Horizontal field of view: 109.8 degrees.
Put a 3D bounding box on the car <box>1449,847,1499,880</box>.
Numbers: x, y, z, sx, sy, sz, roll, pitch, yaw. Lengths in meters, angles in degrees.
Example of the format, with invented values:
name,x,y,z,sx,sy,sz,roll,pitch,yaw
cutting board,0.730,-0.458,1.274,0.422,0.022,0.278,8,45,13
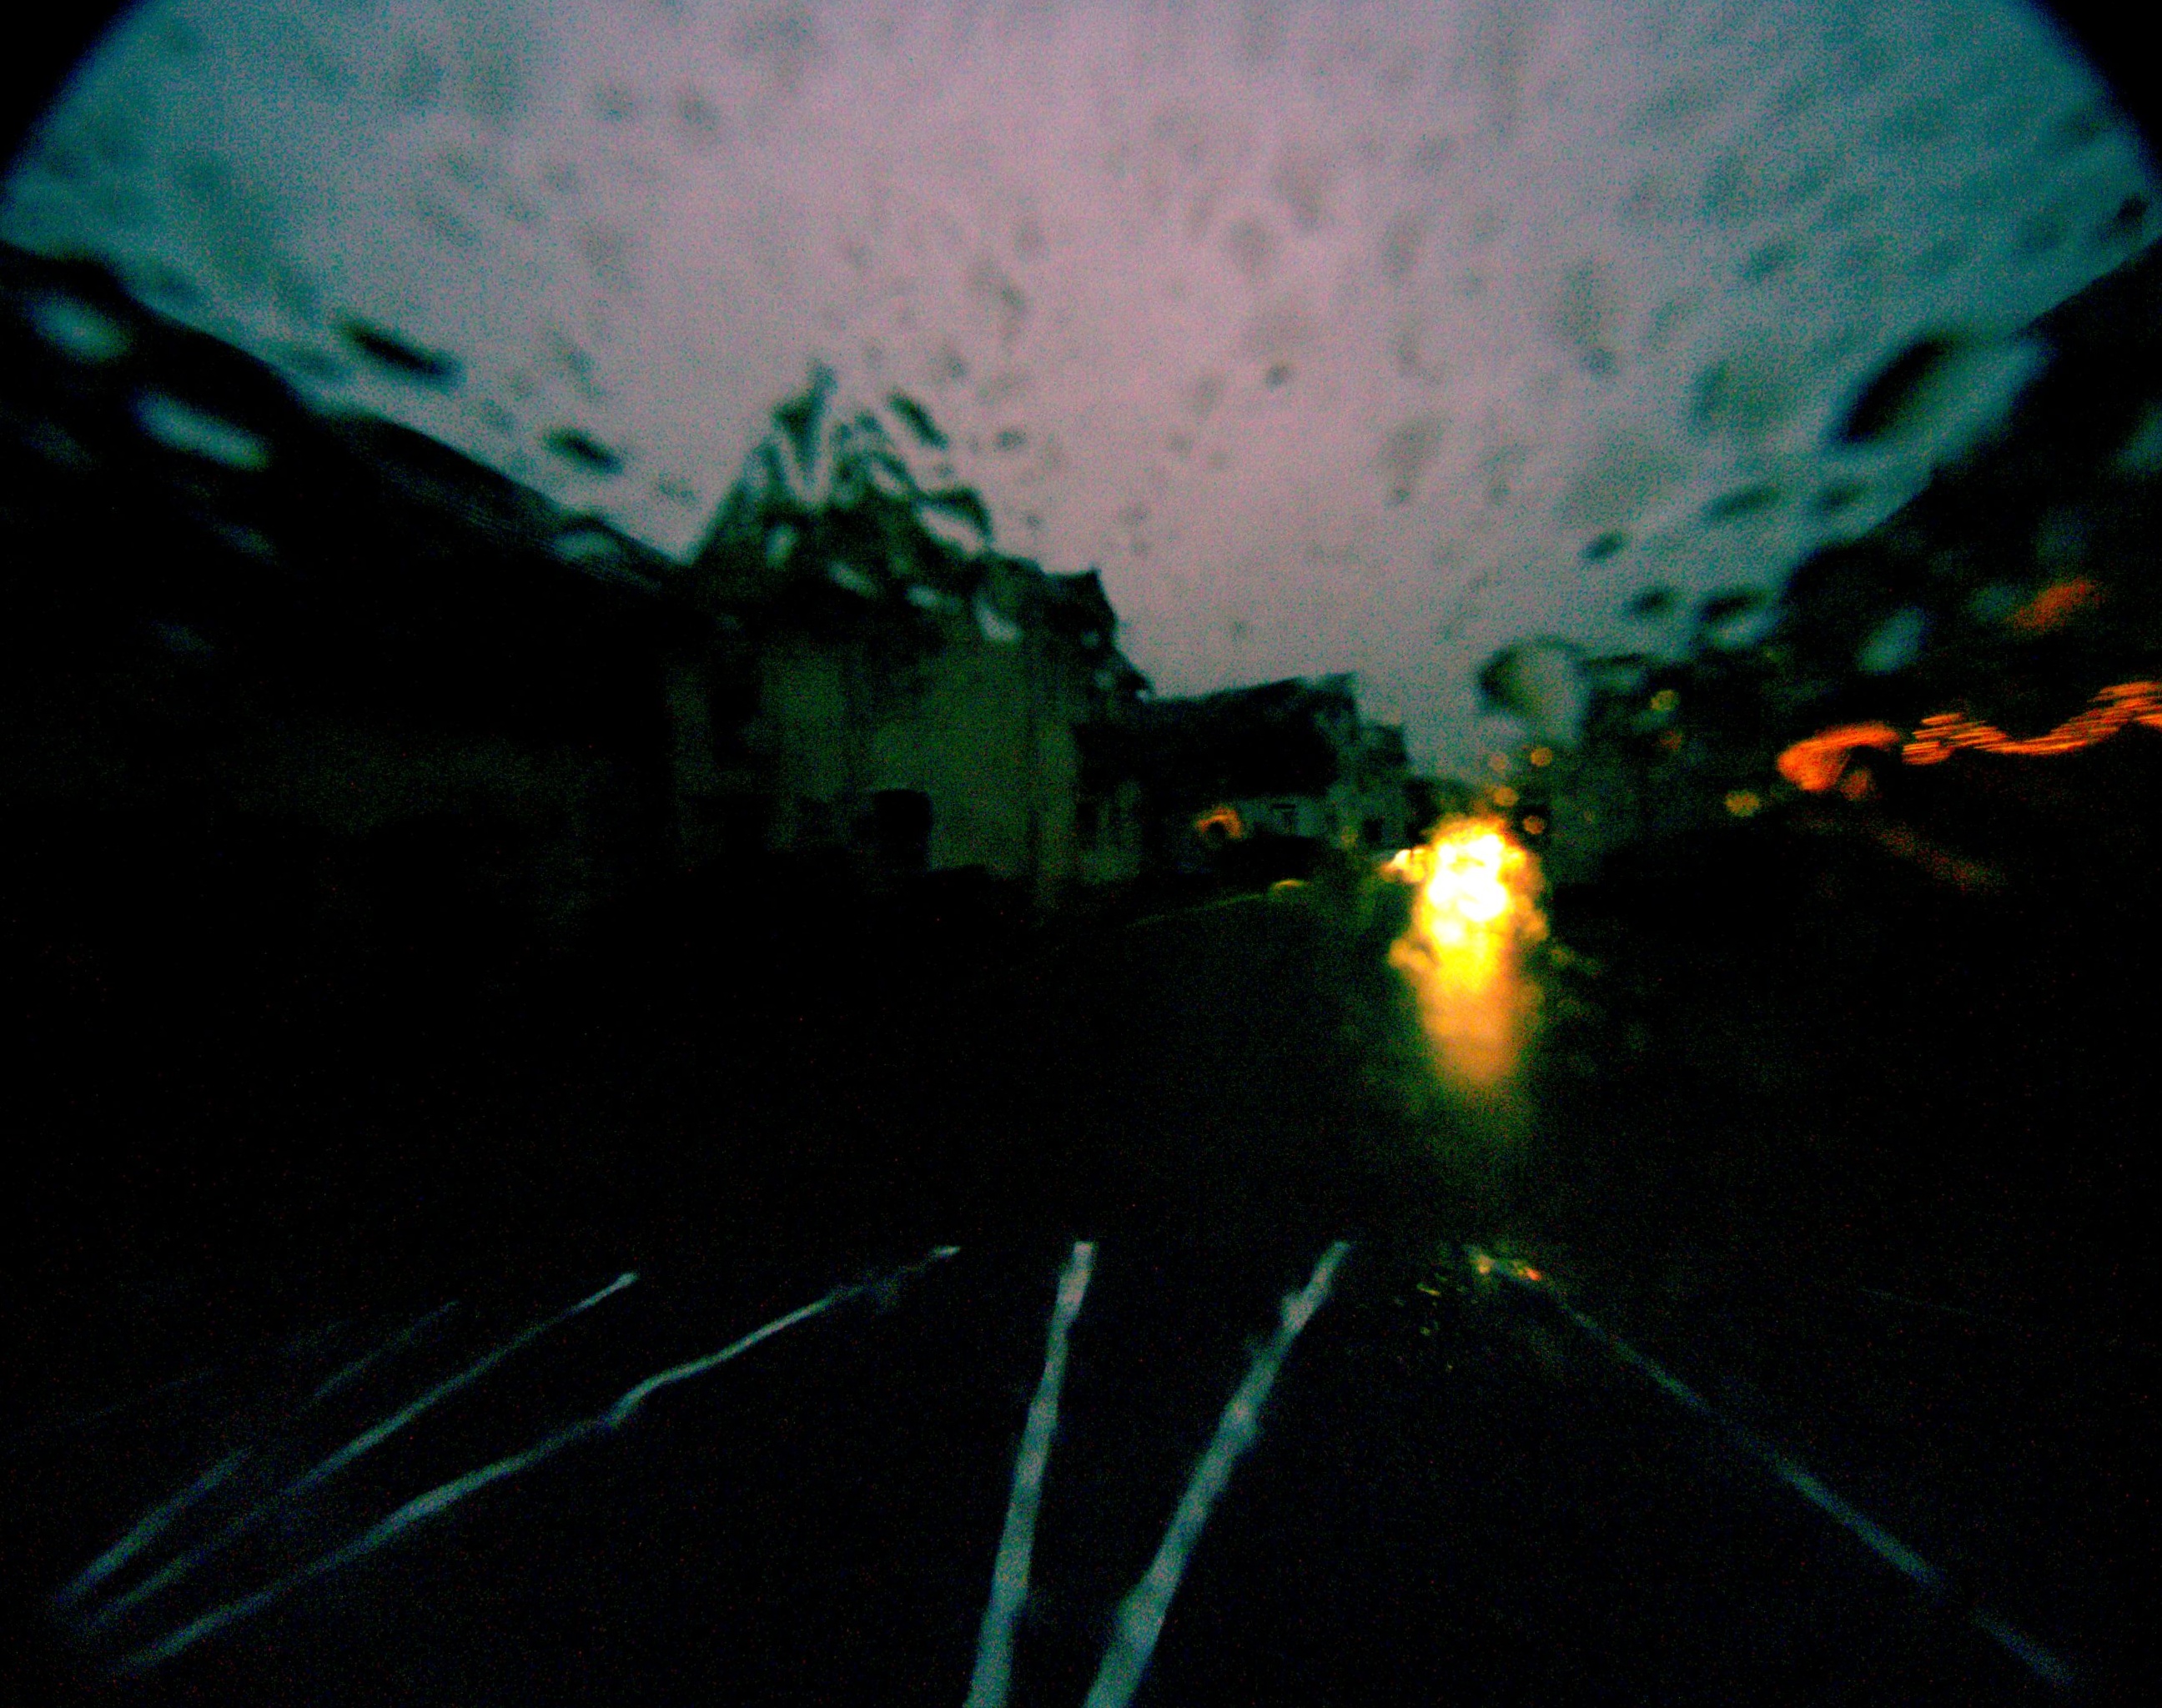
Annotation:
name,x,y,z,sx,sy,sz,roll,pitch,yaw
car,20.598,0.468,39.725,1.987,1.549,4.244,-1,0,32

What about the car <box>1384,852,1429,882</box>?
name,x,y,z,sx,sy,sz,roll,pitch,yaw
car,17.643,0.688,41.116,1.639,1.463,4.007,-2,0,31

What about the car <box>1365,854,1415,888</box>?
name,x,y,z,sx,sy,sz,roll,pitch,yaw
car,14.915,0.791,36.580,1.639,1.485,4.007,-2,0,30

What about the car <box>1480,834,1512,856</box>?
name,x,y,z,sx,sy,sz,roll,pitch,yaw
car,31.258,-0.691,57.169,1.987,1.549,4.243,-1,0,31

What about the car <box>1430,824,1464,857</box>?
name,x,y,z,sx,sy,sz,roll,pitch,yaw
car,29.474,-1.055,61.061,2.010,2.439,5.625,-2,0,30

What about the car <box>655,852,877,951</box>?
name,x,y,z,sx,sy,sz,roll,pitch,yaw
car,-5.657,0.761,13.687,3.482,1.497,1.652,2,1,22

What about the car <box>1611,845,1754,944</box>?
name,x,y,z,sx,sy,sz,roll,pitch,yaw
car,10.427,0.613,13.418,1.619,1.413,3.810,-2,1,33

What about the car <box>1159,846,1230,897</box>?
name,x,y,z,sx,sy,sz,roll,pitch,yaw
car,4.054,0.540,26.560,1.809,1.479,4.282,2,3,17
